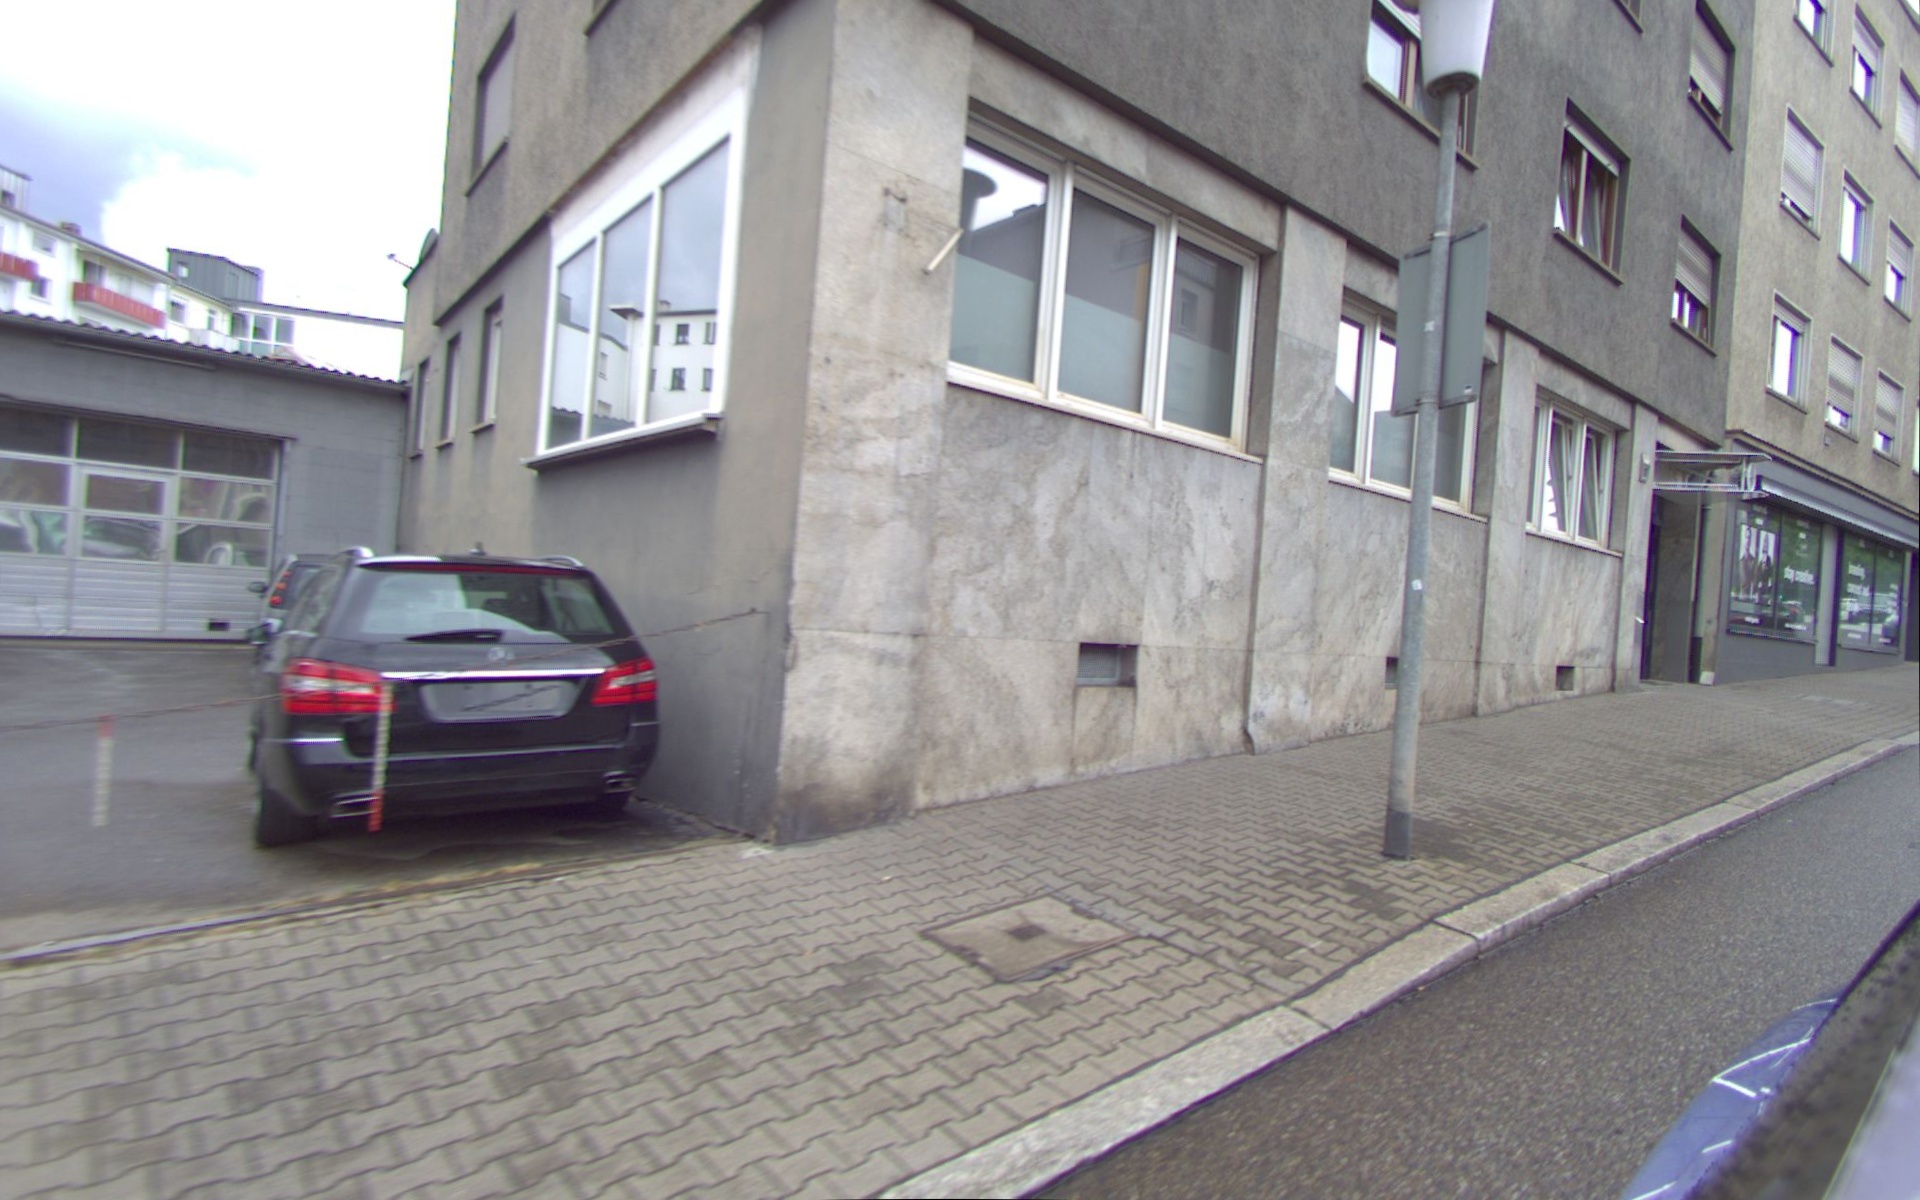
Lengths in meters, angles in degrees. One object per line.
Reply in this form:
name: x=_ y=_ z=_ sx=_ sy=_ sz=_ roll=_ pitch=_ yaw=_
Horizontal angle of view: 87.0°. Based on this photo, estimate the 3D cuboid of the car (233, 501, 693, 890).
car: x=-3.415 y=0.396 z=6.370 sx=1.852 sy=1.532 sz=4.503 roll=1 pitch=-1 yaw=-36

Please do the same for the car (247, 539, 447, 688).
car: x=-8.072 y=0.046 z=13.130 sx=1.852 sy=1.531 sz=4.257 roll=1 pitch=3 yaw=-36
